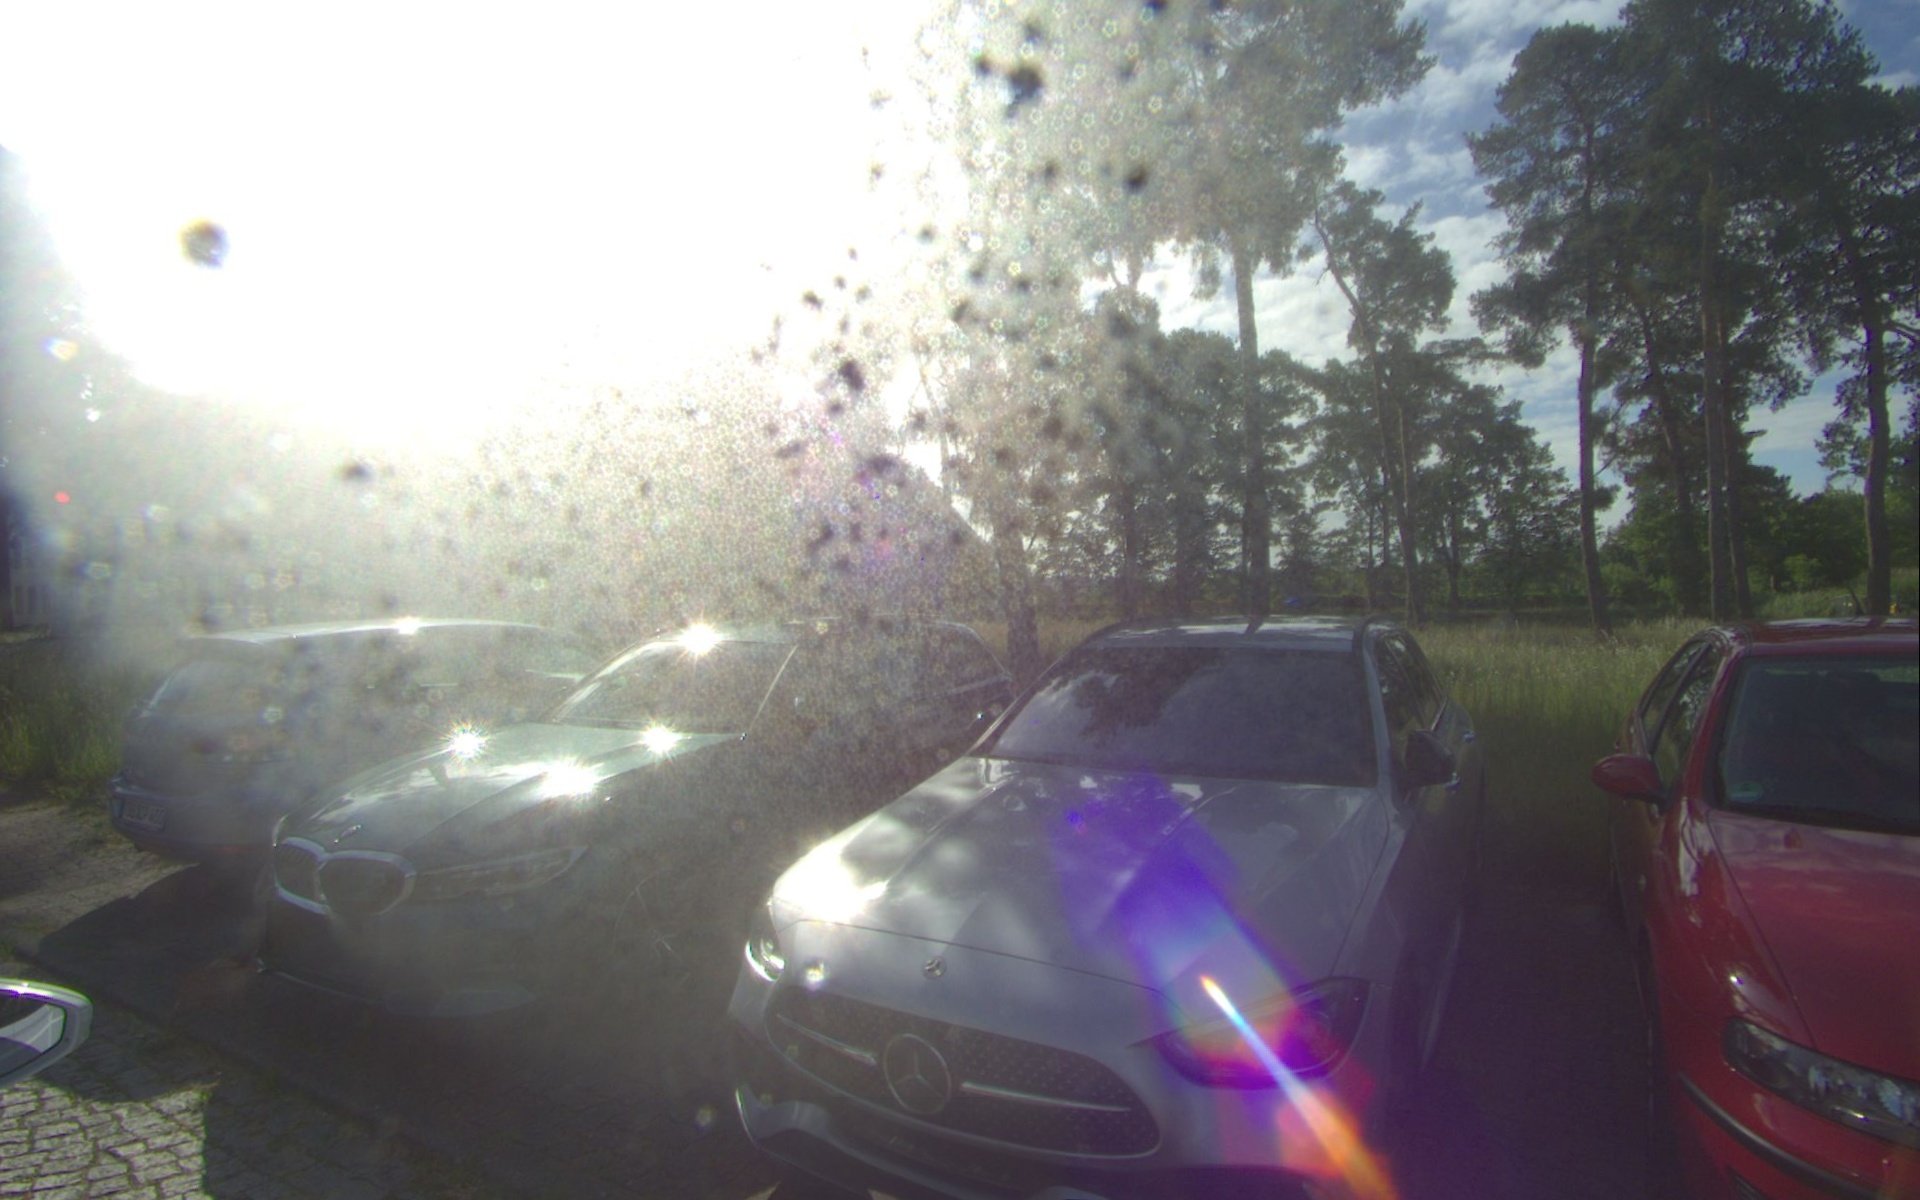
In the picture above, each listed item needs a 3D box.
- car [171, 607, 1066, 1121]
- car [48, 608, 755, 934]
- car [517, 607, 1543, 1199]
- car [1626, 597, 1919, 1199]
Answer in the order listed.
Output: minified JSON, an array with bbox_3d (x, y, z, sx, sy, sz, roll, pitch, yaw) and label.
[{"bbox_3d":[-1.154,0.814,5.374,1.613,1.434,4.549,0,1,32],"label":"car"},{"bbox_3d":[-3.343,0.821,6.778,1.613,1.434,3.873,0,1,32],"label":"car"},{"bbox_3d":[0.975,0.801,3.539,1.755,1.434,4.422,0,1,32],"label":"car"},{"bbox_3d":[2.960,0.763,2.860,1.613,1.468,4.118,0,1,32],"label":"car"}]
